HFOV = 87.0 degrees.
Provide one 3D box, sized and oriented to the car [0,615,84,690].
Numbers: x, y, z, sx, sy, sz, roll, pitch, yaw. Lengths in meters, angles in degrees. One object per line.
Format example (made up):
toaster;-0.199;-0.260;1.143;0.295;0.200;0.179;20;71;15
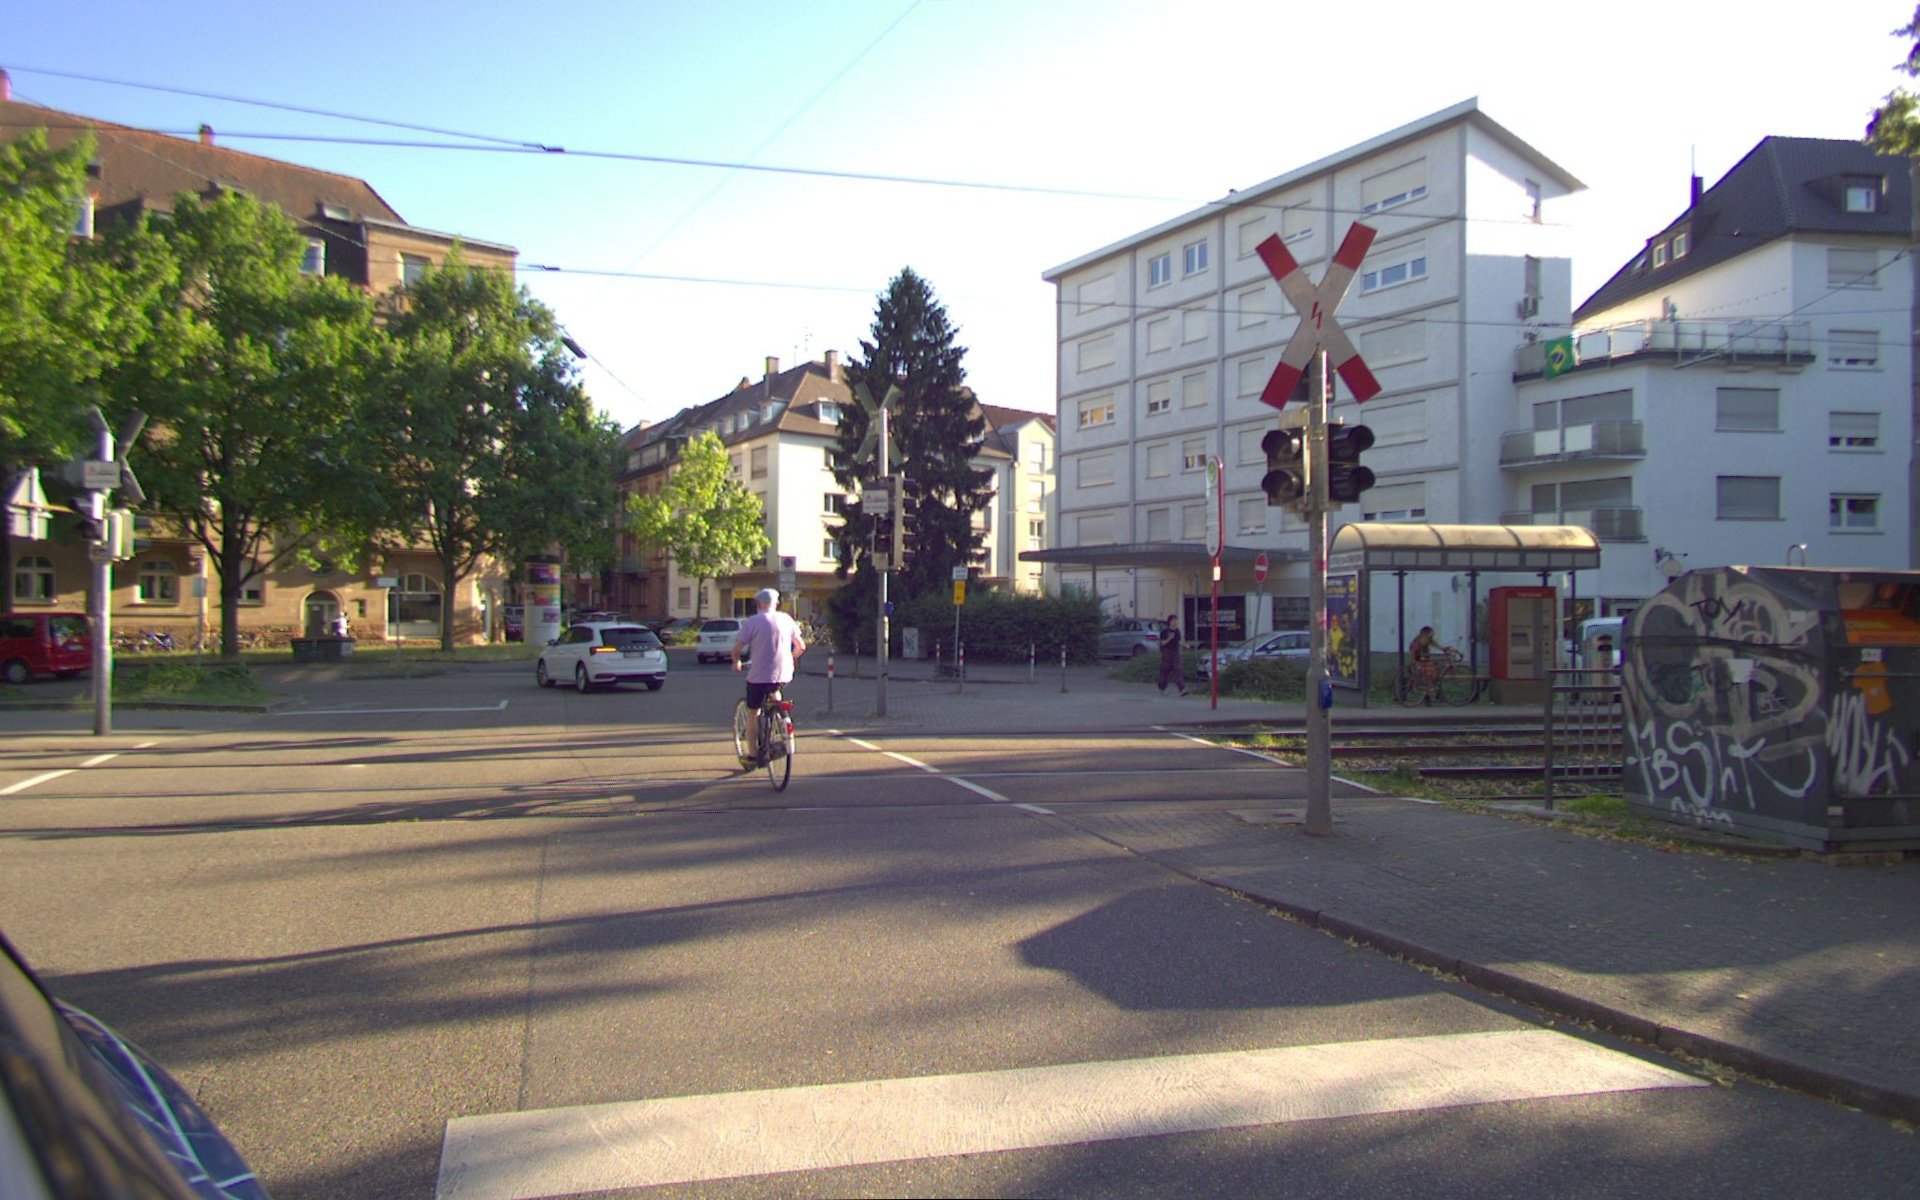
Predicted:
car;-27.483;1.428;28.148;4.705;1.948;1.782;0;1;0

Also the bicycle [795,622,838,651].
bicycle;-7.663;1.925;53.790;0.866;1.456;3.389;1;-1;-34

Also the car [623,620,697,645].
car;-18.101;1.936;61.154;1.870;1.410;3.951;-1;-2;36

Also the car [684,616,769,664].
car;-7.787;1.305;34.110;1.896;1.461;4.295;-1;-1;0

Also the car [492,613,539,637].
car;-26.868;1.518;61.112;1.842;1.410;4.010;1;-2;-35

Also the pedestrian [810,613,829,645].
pedestrian;-8.541;1.756;61.596;0.876;1.889;0.854;1;-2;-37

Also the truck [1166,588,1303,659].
truck;10.504;0.915;39.109;1.967;2.554;4.983;1;-2;-37

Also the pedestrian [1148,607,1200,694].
pedestrian;4.421;1.033;20.981;0.858;1.749;0.831;0;0;-4

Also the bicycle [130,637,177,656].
bicycle;-32.959;1.893;41.357;1.486;0.738;0.369;1;-2;-39

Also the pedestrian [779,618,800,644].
pedestrian;-10.428;1.918;61.963;0.948;1.581;0.893;1;-2;-36

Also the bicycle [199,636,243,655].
bicycle;-31.333;1.923;42.921;1.486;0.738;0.369;1;-2;-39

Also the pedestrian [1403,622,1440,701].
pedestrian;7.691;1.020;16.878;0.445;1.311;0.338;0;-1;-5

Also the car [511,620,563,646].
car;-23.740;1.819;56.742;1.842;1.410;4.010;1;-2;-35

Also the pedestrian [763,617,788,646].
pedestrian;-11.097;1.884;60.828;1.195;1.679;0.966;1;-2;-36

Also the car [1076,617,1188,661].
car;6.417;1.427;38.194;1.966;1.544;4.011;1;-1;-33

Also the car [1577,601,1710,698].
car;13.025;1.040;19.499;1.600;1.665;4.200;-3;-6;28

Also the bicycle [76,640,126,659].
bicycle;-33.971;1.946;40.061;1.486;0.738;0.369;1;-2;-39

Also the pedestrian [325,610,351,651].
pedestrian;-26.327;1.279;42.825;0.897;1.731;0.677;1;-2;-35

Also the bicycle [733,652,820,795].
bicycle;-1.714;1.049;9.226;0.689;1.062;2.129;0;-1;-12

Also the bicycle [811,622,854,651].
bicycle;-6.920;1.947;54.594;0.866;1.456;3.389;1;-1;-34

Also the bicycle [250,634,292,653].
bicycle;-29.898;1.891;43.909;1.486;0.738;0.369;-1;0;-39

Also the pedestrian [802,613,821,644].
pedestrian;-9.152;1.741;62.229;0.876;1.889;0.854;1;-2;-37

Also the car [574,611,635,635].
car;-25.090;1.638;71.528;1.862;1.648;3.967;-1;-1;24

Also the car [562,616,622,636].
car;-26.750;1.917;73.666;1.862;1.410;3.967;-1;-1;24

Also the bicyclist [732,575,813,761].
bicyclist;-1.721;0.596;9.233;0.689;1.600;0.876;0;-1;-12

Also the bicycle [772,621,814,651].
bicycle;-8.781;1.882;53.085;0.866;1.456;3.389;1;-1;-34

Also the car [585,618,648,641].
car;-23.325;1.985;68.837;1.862;1.517;3.967;-1;-1;24

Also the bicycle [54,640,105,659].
bicycle;-34.733;1.945;39.952;1.486;0.738;0.369;1;-2;-39

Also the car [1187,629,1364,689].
car;8.039;1.483;25.974;3.937;1.457;1.719;0;-2;-7

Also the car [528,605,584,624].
car;-32.050;1.173;80.365;1.862;1.410;3.967;-1;-1;24

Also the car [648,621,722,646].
car;-16.164;1.936;59.613;1.870;1.410;3.951;-1;-2;36

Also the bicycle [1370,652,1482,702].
bicycle;7.578;1.245;16.469;1.618;0.789;0.451;0;-1;-4

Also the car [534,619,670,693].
car;-7.936;1.159;22.245;1.680;1.468;4.071;1;-2;-37

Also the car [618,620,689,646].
car;-19.426;2.073;64.210;1.871;1.580;3.948;-1;-2;38
